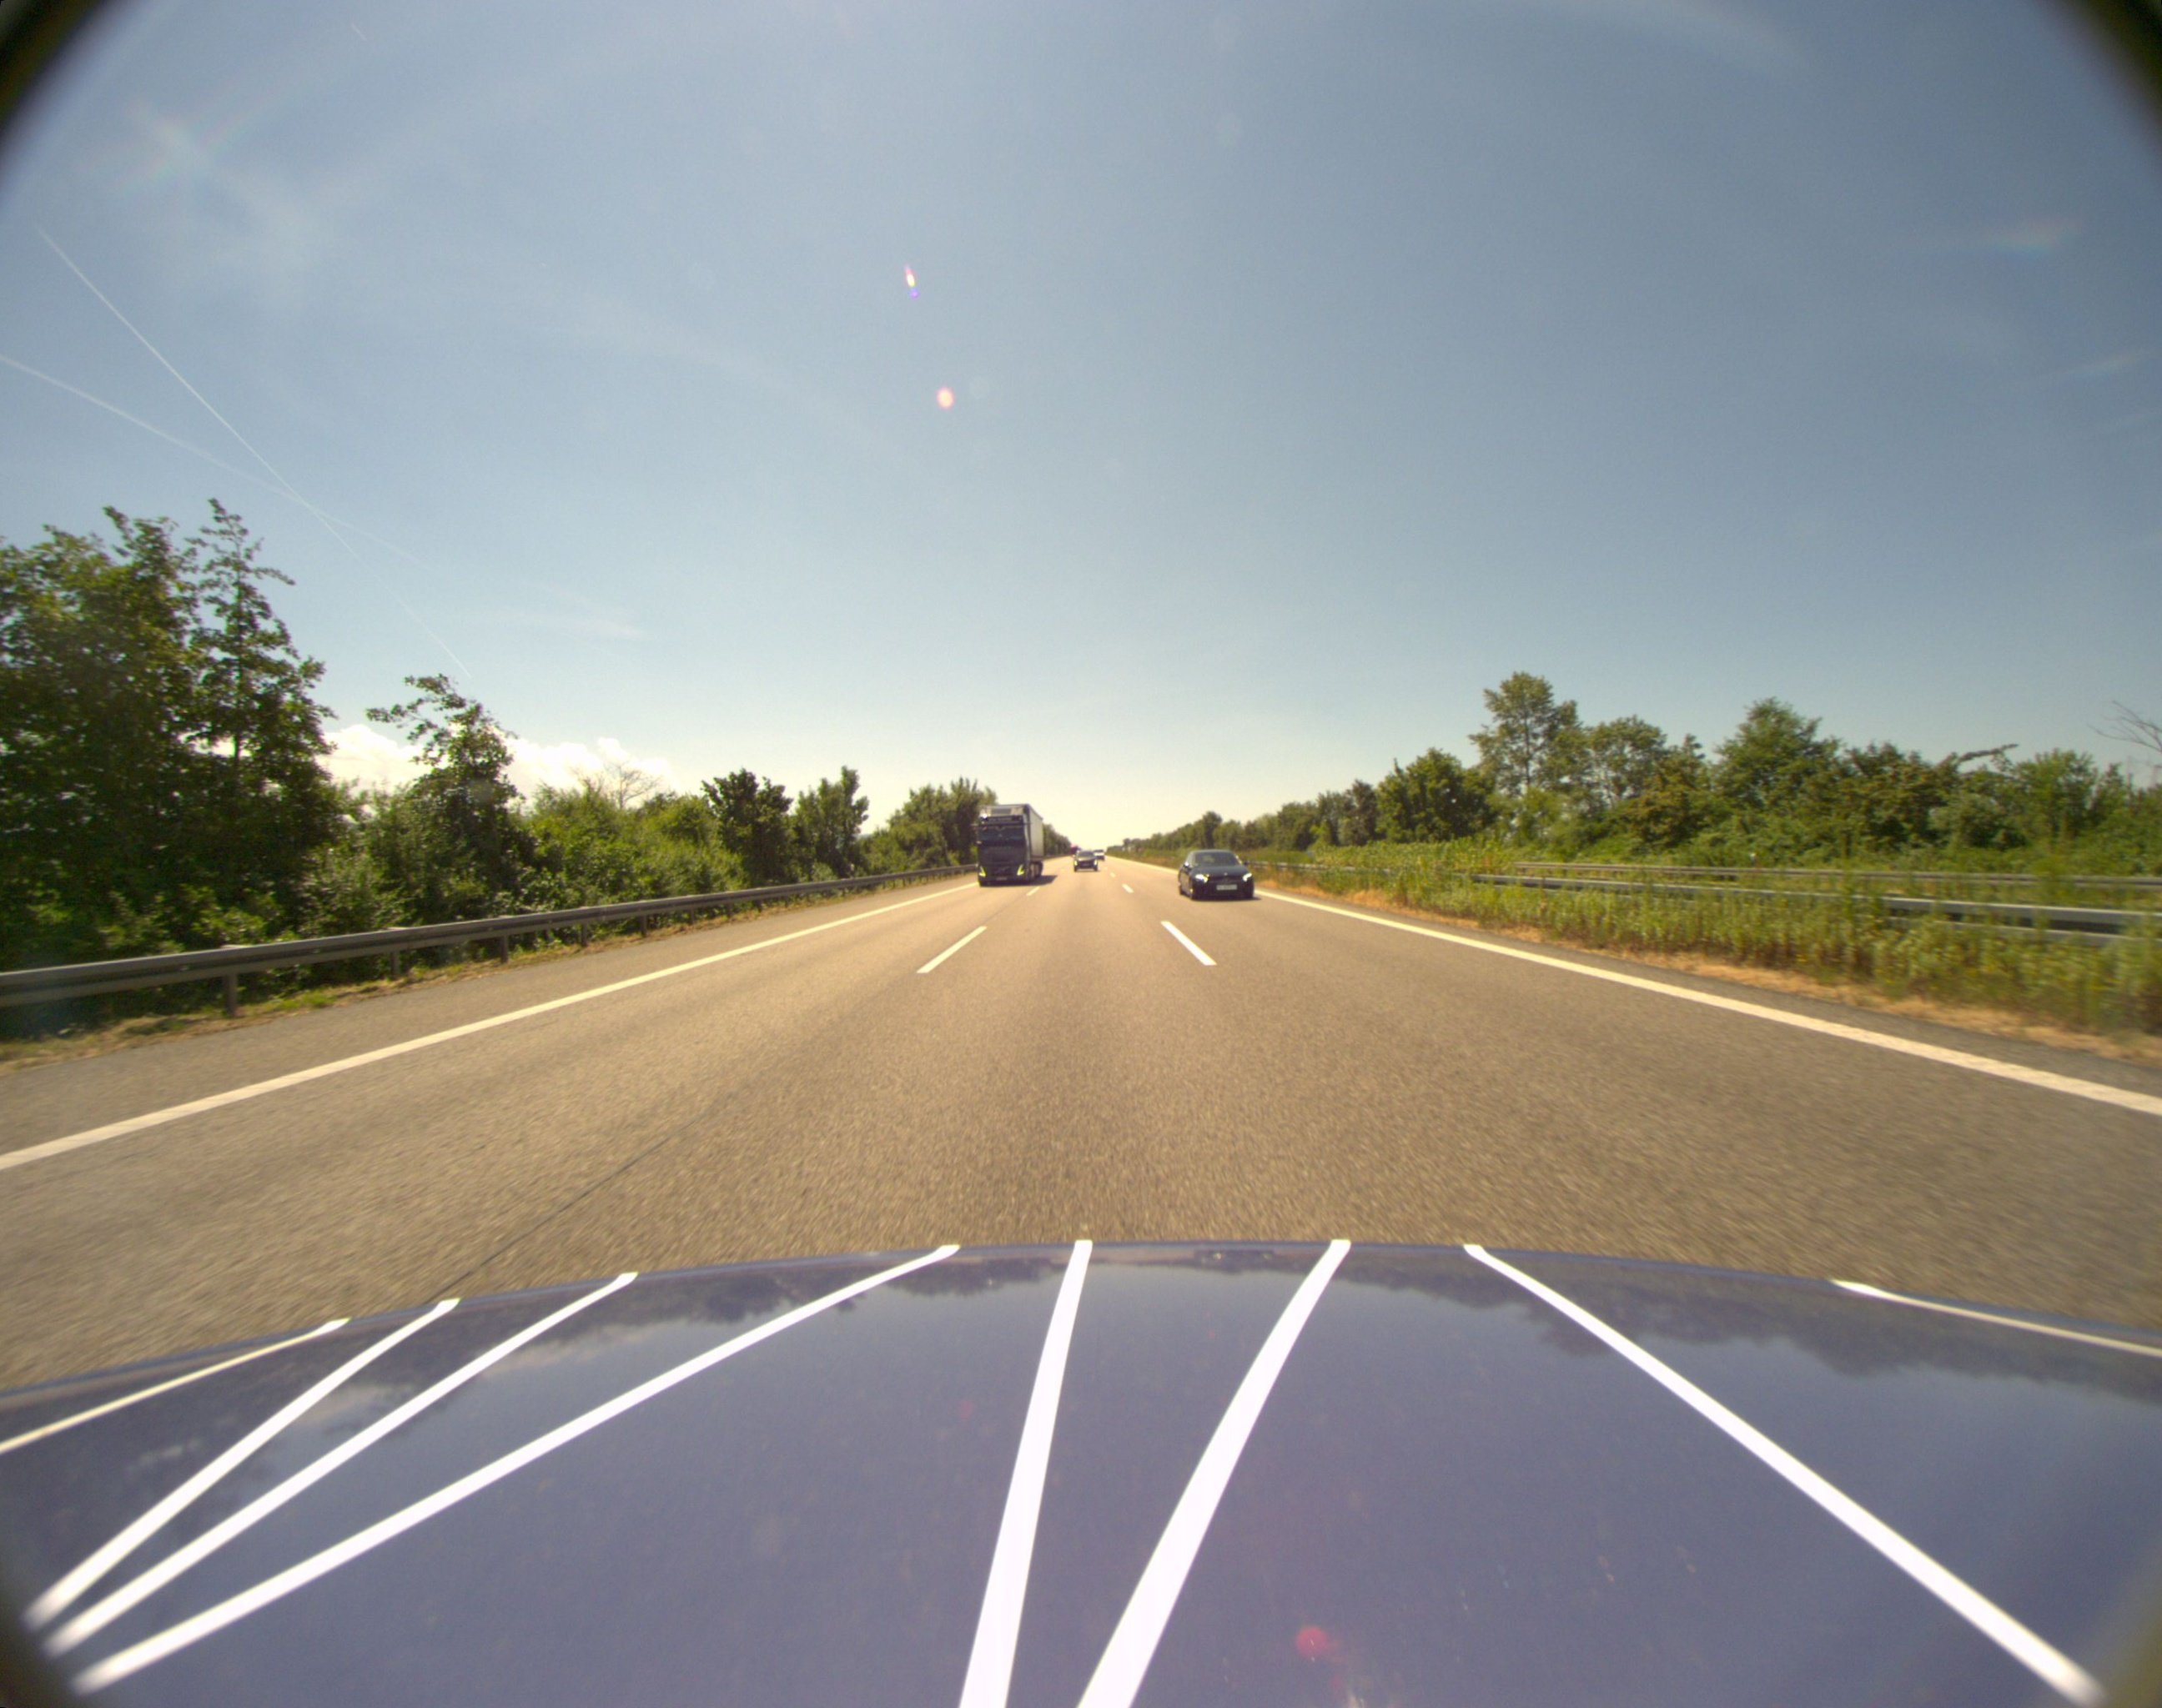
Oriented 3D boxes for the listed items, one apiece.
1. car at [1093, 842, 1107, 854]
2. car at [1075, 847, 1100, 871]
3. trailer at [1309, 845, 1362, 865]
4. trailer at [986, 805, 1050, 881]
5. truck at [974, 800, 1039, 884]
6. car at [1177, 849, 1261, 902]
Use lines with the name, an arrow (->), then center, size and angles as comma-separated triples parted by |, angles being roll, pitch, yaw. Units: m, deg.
car -> 2.975, -1.010, 119.879 | 2.147, 1.810, 5.267 | -2, 1, 1
car -> 0.511, 0.360, 58.574 | 1.796, 1.696, 4.000 | -2, 1, 1
trailer -> 22.062, 0.047, 66.219 | 2.495, 1.674, 6.489 | -1, 1, 0
trailer -> -3.604, -0.644, 46.788 | 2.559, 3.932, 13.537 | -2, 1, 1
truck -> -3.706, -0.590, 39.342 | 2.559, 3.932, 6.513 | -2, 1, 1
car -> 4.050, 0.583, 22.913 | 1.796, 1.403, 4.052 | -2, 1, 1
